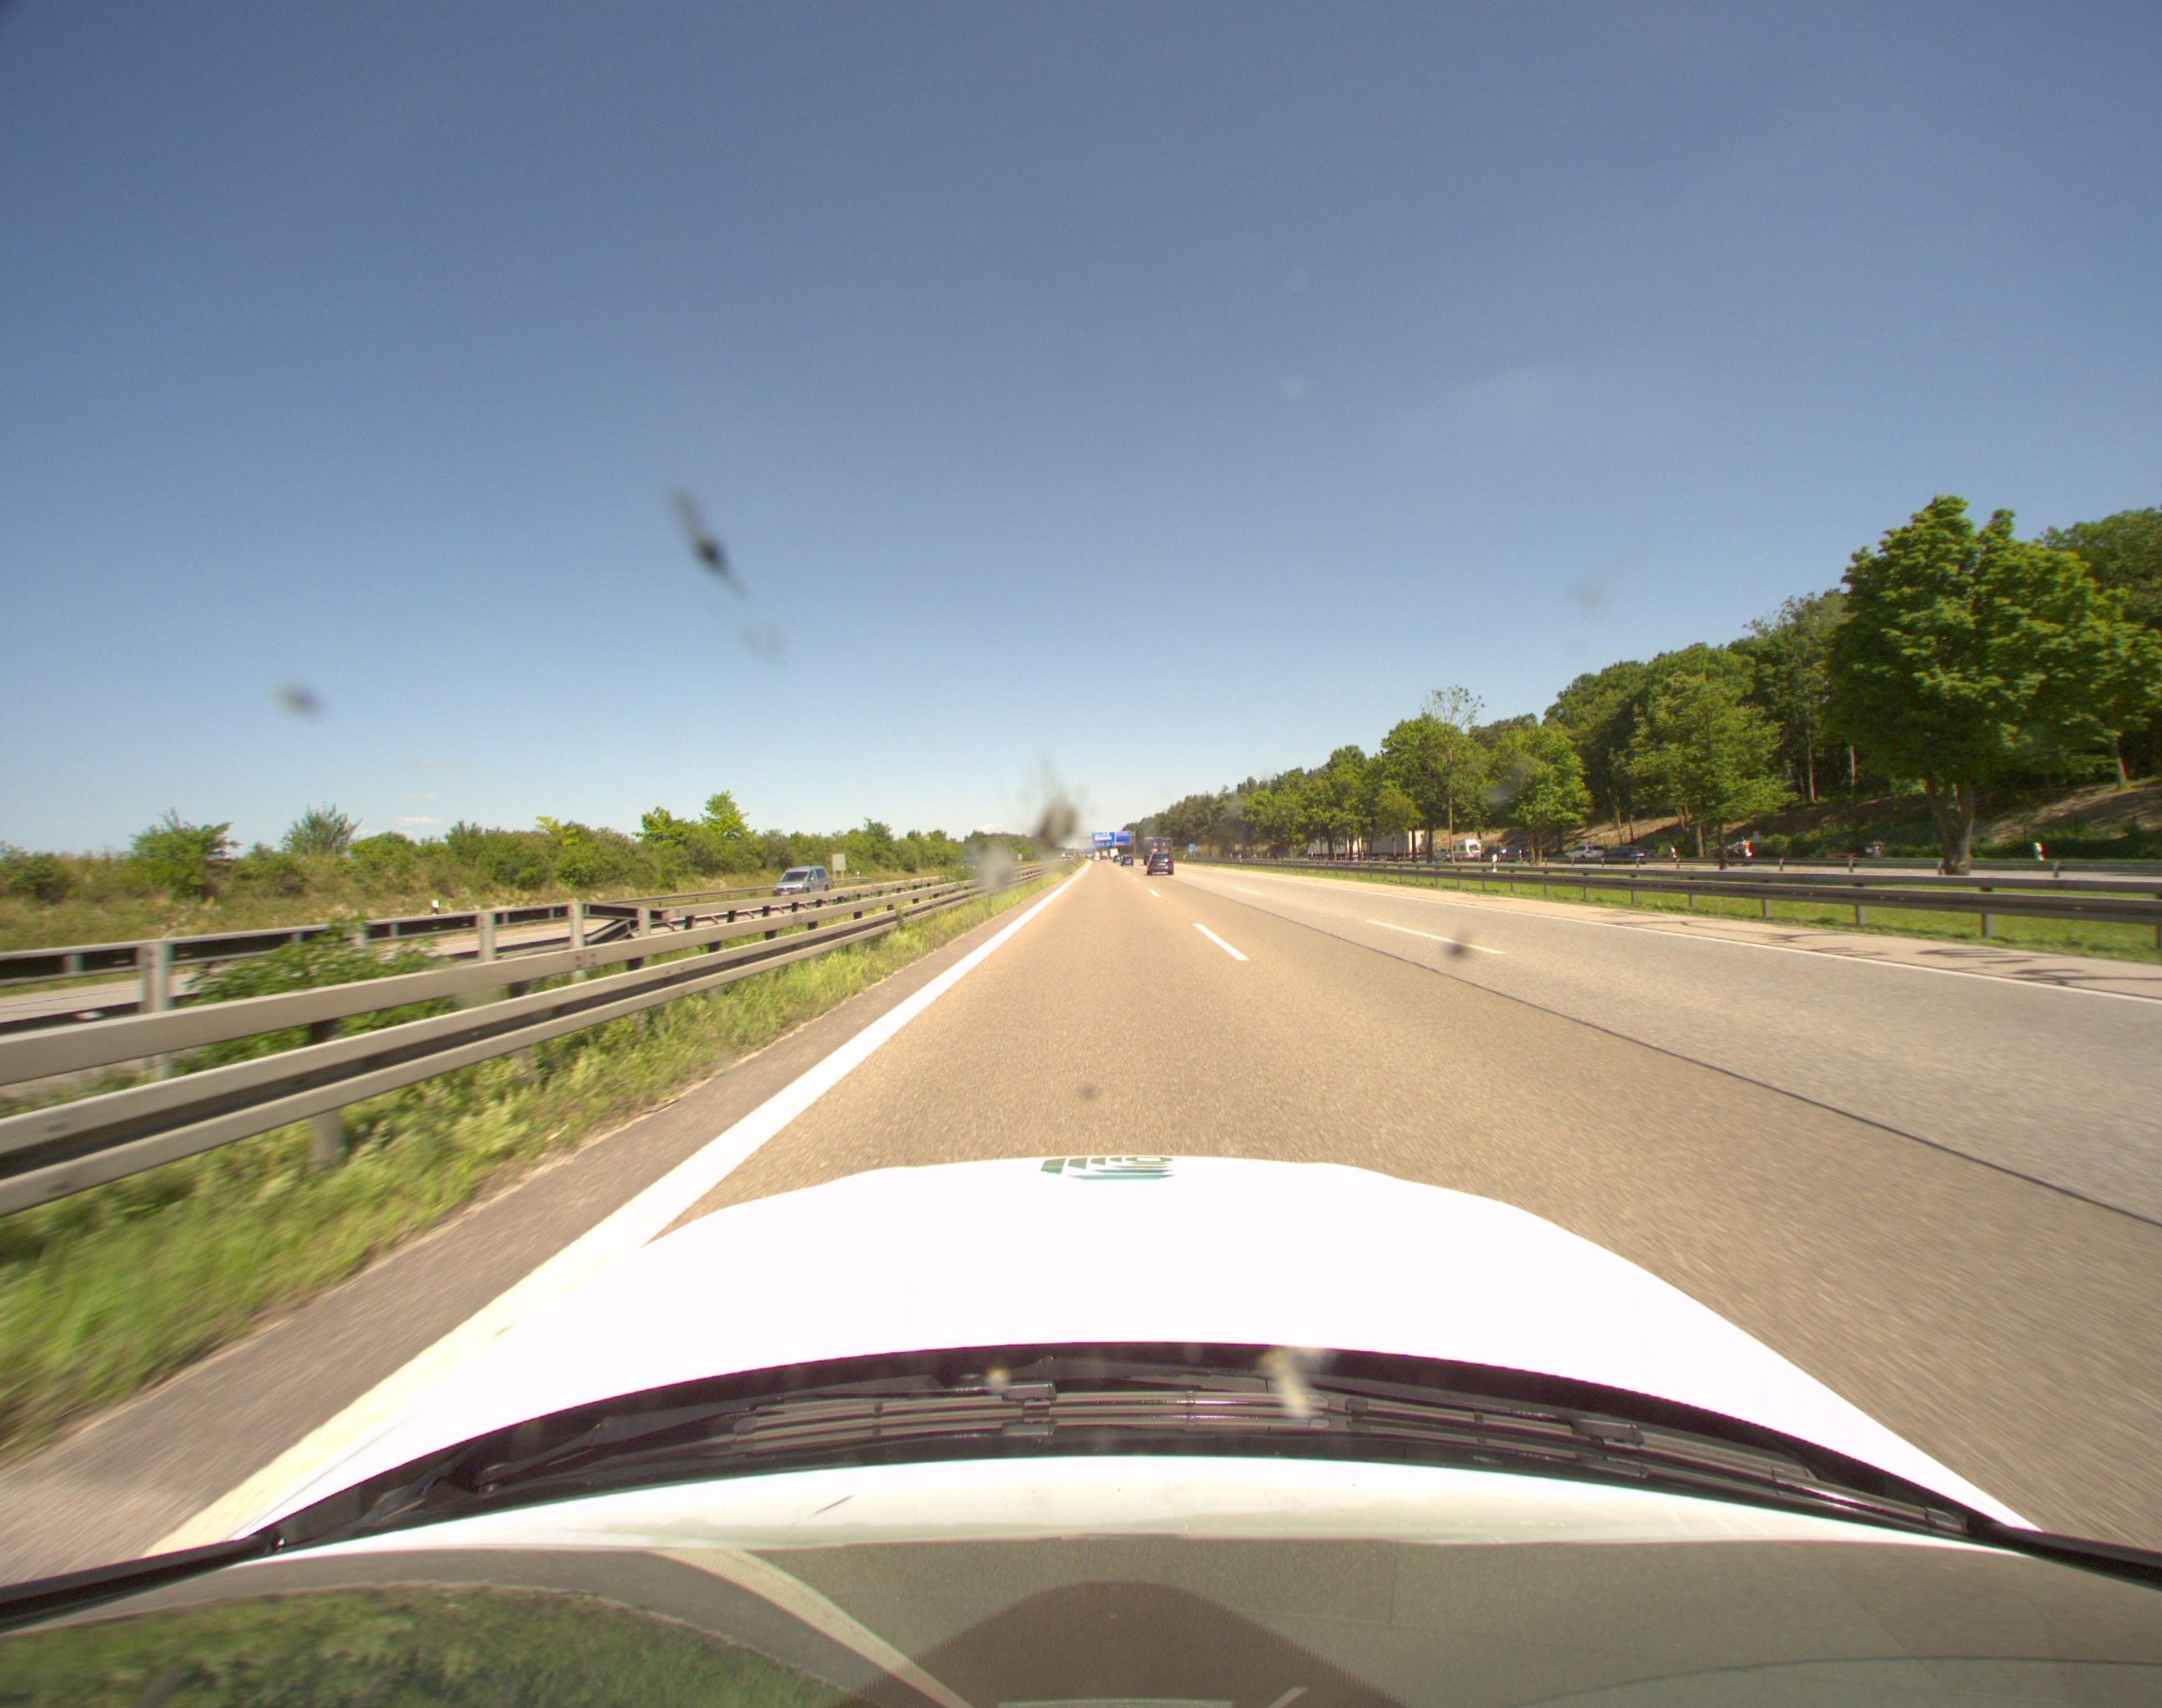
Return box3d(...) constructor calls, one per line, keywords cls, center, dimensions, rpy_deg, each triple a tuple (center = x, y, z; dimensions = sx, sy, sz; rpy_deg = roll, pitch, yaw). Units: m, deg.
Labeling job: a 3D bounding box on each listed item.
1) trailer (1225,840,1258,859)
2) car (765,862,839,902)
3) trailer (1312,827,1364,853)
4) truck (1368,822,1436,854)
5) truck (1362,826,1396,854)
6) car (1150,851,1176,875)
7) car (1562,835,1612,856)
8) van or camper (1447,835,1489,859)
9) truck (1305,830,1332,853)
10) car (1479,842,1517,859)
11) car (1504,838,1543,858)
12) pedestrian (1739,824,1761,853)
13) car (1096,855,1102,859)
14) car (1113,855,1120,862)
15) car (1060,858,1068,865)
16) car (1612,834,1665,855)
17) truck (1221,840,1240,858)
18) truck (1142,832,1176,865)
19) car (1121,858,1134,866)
box3d(cls="trailer", center=(35.301, -1.011, 179.746), dimensions=(2.573, 3.915, 12.697), rpy_deg=(-1, 0, -11))
box3d(cls="car", center=(-15.218, 1.468, 44.756), dimensions=(1.987, 1.835, 5.334), rpy_deg=(-4, 0, 1))
box3d(cls="trailer", center=(42.479, -2.219, 135.141), dimensions=(2.854, 3.796, 14.161), rpy_deg=(-1, 0, -5))
box3d(cls="truck", center=(44.127, -2.095, 112.775), dimensions=(2.989, 3.931, 14.444), rpy_deg=(-2, 0, -3))
box3d(cls="truck", center=(43.773, -2.061, 119.939), dimensions=(2.964, 3.931, 4.828), rpy_deg=(-2, 0, -3))
box3d(cls="car", center=(5.995, 0.636, 60.057), dimensions=(1.791, 1.669, 4.264), rpy_deg=(-1, 0, 4))
box3d(cls="car", center=(43.766, -0.685, 70.584), dimensions=(1.649, 1.675, 4.655), rpy_deg=(-2, 0, 3))
box3d(cls="van or camper", center=(44.181, -0.785, 93.130), dimensions=(2.195, 2.530, 5.878), rpy_deg=(-2, 0, 2))
box3d(cls="truck", center=(41.710, -2.178, 142.945), dimensions=(2.805, 3.796, 5.135), rpy_deg=(-1, 0, -6))
box3d(cls="car", center=(44.187, -0.348, 86.380), dimensions=(1.651, 1.642, 4.494), rpy_deg=(-2, 0, -1))
box3d(cls="car", center=(43.696, -0.534, 80.561), dimensions=(1.647, 1.877, 4.808), rpy_deg=(-2, 0, 6))
box3d(cls="pedestrian", center=(41.861, -0.978, 50.963), dimensions=(0.792, 1.782, 0.645), rpy_deg=(-2, 0, 15))
box3d(cls="car", center=(4.950, 0.850, 224.151), dimensions=(1.465, 1.227, 3.412), rpy_deg=(-2, 0, 2))
box3d(cls="car", center=(7.553, 1.013, 174.432), dimensions=(1.465, 1.398, 3.412), rpy_deg=(1, 0, 2))
box3d(cls="car", center=(-5.266, 2.284, 251.908), dimensions=(1.986, 2.109, 4.303), rpy_deg=(-3, 0, 1))
box3d(cls="car", center=(43.961, -0.724, 64.294), dimensions=(1.981, 1.574, 4.011), rpy_deg=(-2, 0, 10))
box3d(cls="truck", center=(34.106, -1.053, 185.770), dimensions=(2.573, 3.915, 4.846), rpy_deg=(-1, 0, -12))
box3d(cls="truck", center=(11.029, -0.746, 116.709), dimensions=(3.766, 4.422, 14.057), rpy_deg=(-1, 0, 2))
box3d(cls="car", center=(6.586, 1.115, 114.777), dimensions=(1.702, 1.155, 3.691), rpy_deg=(-2, 0, 2))
